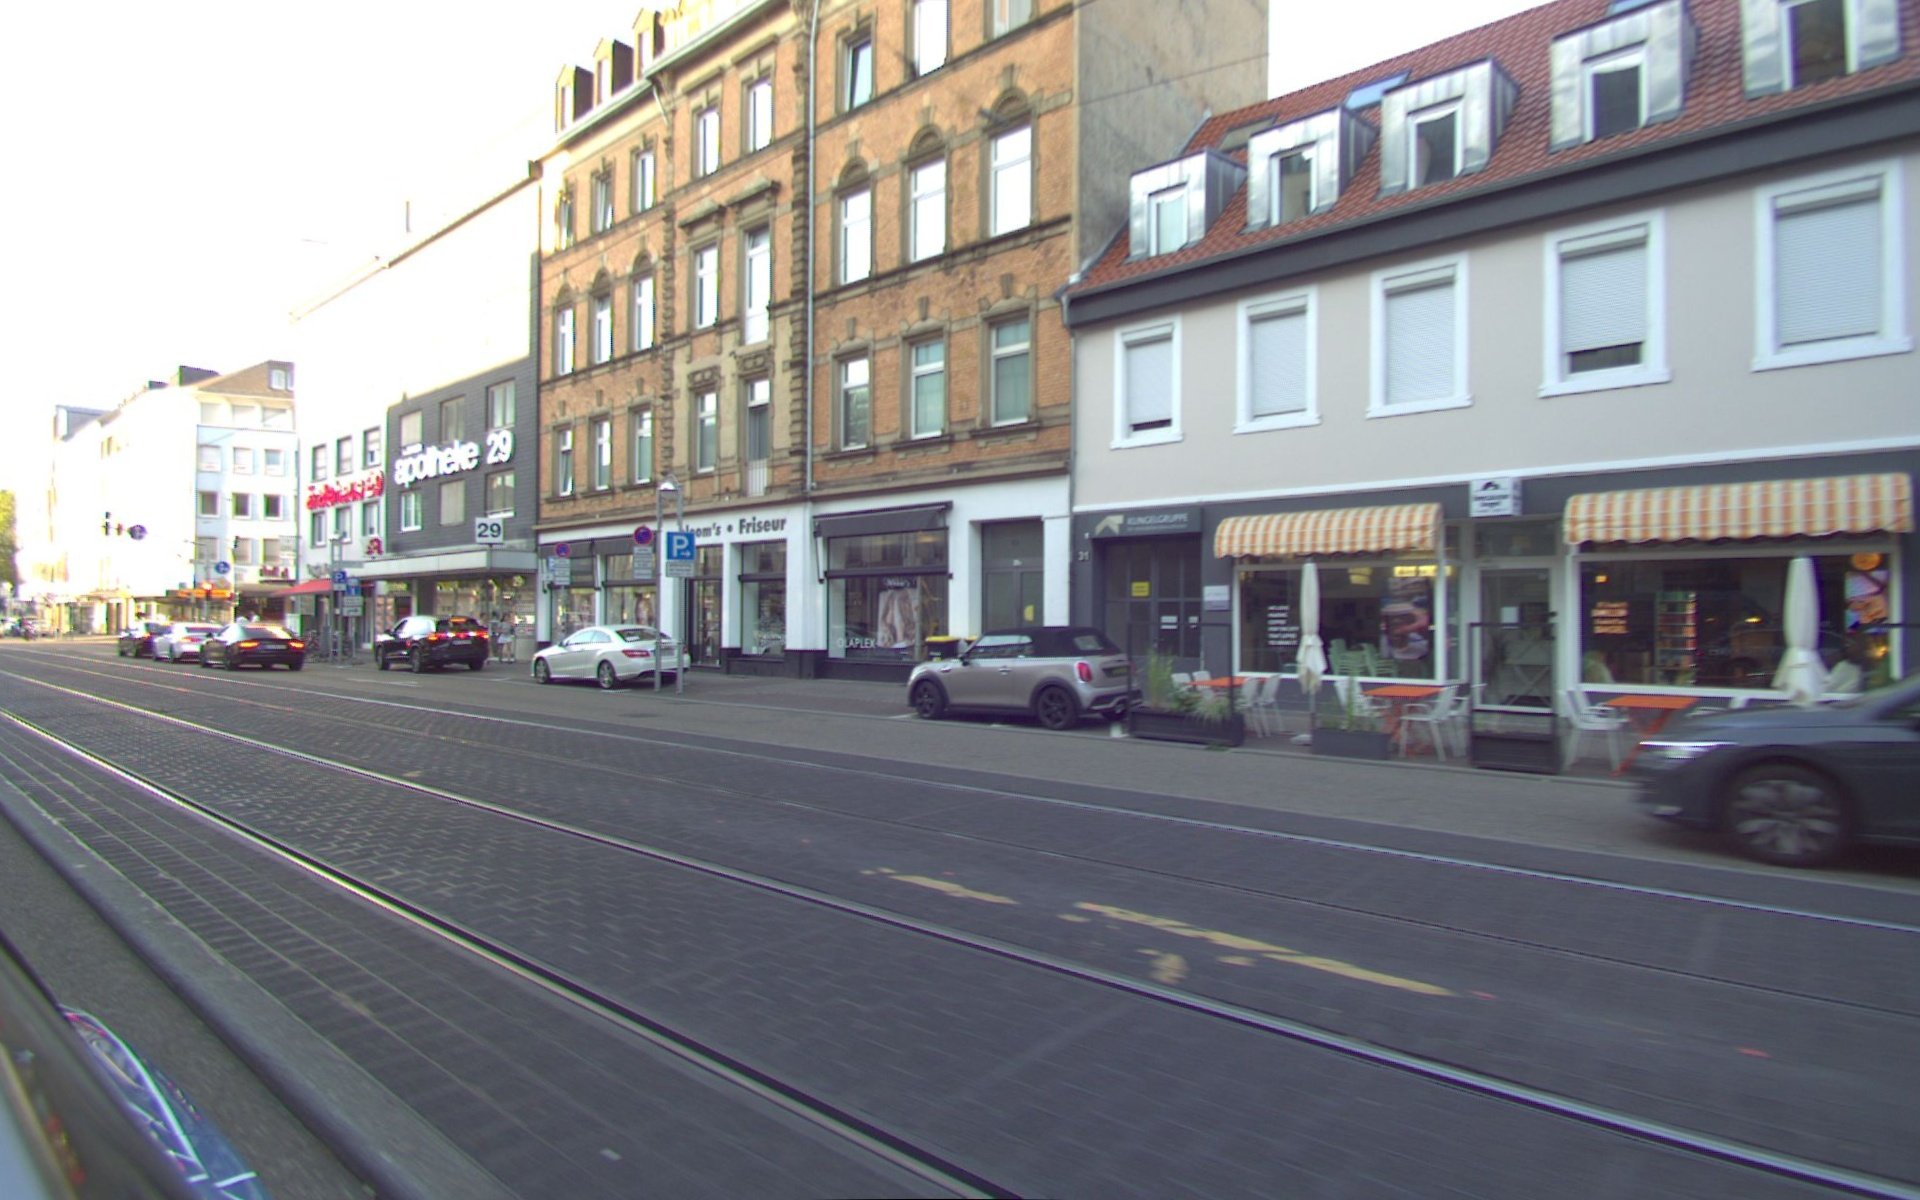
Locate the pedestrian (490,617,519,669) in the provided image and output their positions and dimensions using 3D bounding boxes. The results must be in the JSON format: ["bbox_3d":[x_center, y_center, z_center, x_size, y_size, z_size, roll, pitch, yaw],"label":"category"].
[{"bbox_3d":[-14.820,1.383,32.948,0.624,1.673,0.675,-2,-2,41],"label":"pedestrian"}]

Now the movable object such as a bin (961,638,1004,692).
[{"bbox_3d":[0.448,1.289,20.249,0.694,1.041,0.490,-1,0,40],"label":"movable object such as a bin"}]

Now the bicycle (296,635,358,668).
[{"bbox_3d":[-22.722,1.832,36.340,0.489,1.055,1.812,-3,-1,41],"label":"bicycle"}]

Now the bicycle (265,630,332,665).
[{"bbox_3d":[-25.684,1.843,39.319,0.553,1.233,2.090,0,1,41],"label":"bicycle"}]

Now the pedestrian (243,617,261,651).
[{"bbox_3d":[-38.488,1.836,55.012,0.599,1.792,0.630,-1,-2,37],"label":"pedestrian"}]

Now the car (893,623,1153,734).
[{"bbox_3d":[0.873,1.107,15.488,3.811,1.451,1.581,-1,0,42],"label":"car"}]

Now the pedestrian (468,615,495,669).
[{"bbox_3d":[-15.379,1.344,32.537,0.602,1.712,0.614,-2,-2,41],"label":"pedestrian"}]

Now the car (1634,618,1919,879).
[{"bbox_3d":[6.618,0.856,5.756,4.462,1.464,1.674,-1,-3,41],"label":"car"}]

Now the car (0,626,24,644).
[{"bbox_3d":[-75.276,2.757,79.911,3.387,1.364,1.615,-2,0,41],"label":"car"}]

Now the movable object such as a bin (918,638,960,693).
[{"bbox_3d":[-0.424,1.313,20.359,0.659,1.051,0.512,-1,0,40],"label":"movable object such as a bin"}]

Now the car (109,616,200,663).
[{"bbox_3d":[-31.475,1.534,39.488,4.726,1.740,1.972,-1,-4,42],"label":"car"}]

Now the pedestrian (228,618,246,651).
[{"bbox_3d":[-38.861,1.824,54.407,0.668,1.758,0.630,-1,-2,39],"label":"pedestrian"}]

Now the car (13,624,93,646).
[{"bbox_3d":[-57.368,2.212,64.068,1.593,1.344,3.452,-1,-2,32],"label":"car"}]

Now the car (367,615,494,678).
[{"bbox_3d":[-15.716,1.338,29.933,4.646,1.687,1.909,-2,-1,43],"label":"car"}]

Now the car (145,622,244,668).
[{"bbox_3d":[-26.868,1.553,35.468,4.656,1.464,1.971,-1,-4,43],"label":"car"}]

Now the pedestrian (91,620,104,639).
[{"bbox_3d":[-68.039,2.347,79.844,0.621,1.483,0.539,-2,1,25],"label":"pedestrian"}]

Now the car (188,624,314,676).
[{"bbox_3d":[-21.543,1.477,30.674,4.645,1.464,1.973,-1,-3,40],"label":"car"}]

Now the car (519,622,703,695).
[{"bbox_3d":[-8.201,1.292,23.625,4.603,1.464,1.851,-1,0,38],"label":"car"}]

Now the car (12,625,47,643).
[{"bbox_3d":[-71.213,2.610,77.450,3.387,1.263,1.615,-2,0,41],"label":"car"}]

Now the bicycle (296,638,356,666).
[{"bbox_3d":[-23.111,1.892,36.922,0.455,0.919,1.786,-3,-1,41],"label":"bicycle"}]
